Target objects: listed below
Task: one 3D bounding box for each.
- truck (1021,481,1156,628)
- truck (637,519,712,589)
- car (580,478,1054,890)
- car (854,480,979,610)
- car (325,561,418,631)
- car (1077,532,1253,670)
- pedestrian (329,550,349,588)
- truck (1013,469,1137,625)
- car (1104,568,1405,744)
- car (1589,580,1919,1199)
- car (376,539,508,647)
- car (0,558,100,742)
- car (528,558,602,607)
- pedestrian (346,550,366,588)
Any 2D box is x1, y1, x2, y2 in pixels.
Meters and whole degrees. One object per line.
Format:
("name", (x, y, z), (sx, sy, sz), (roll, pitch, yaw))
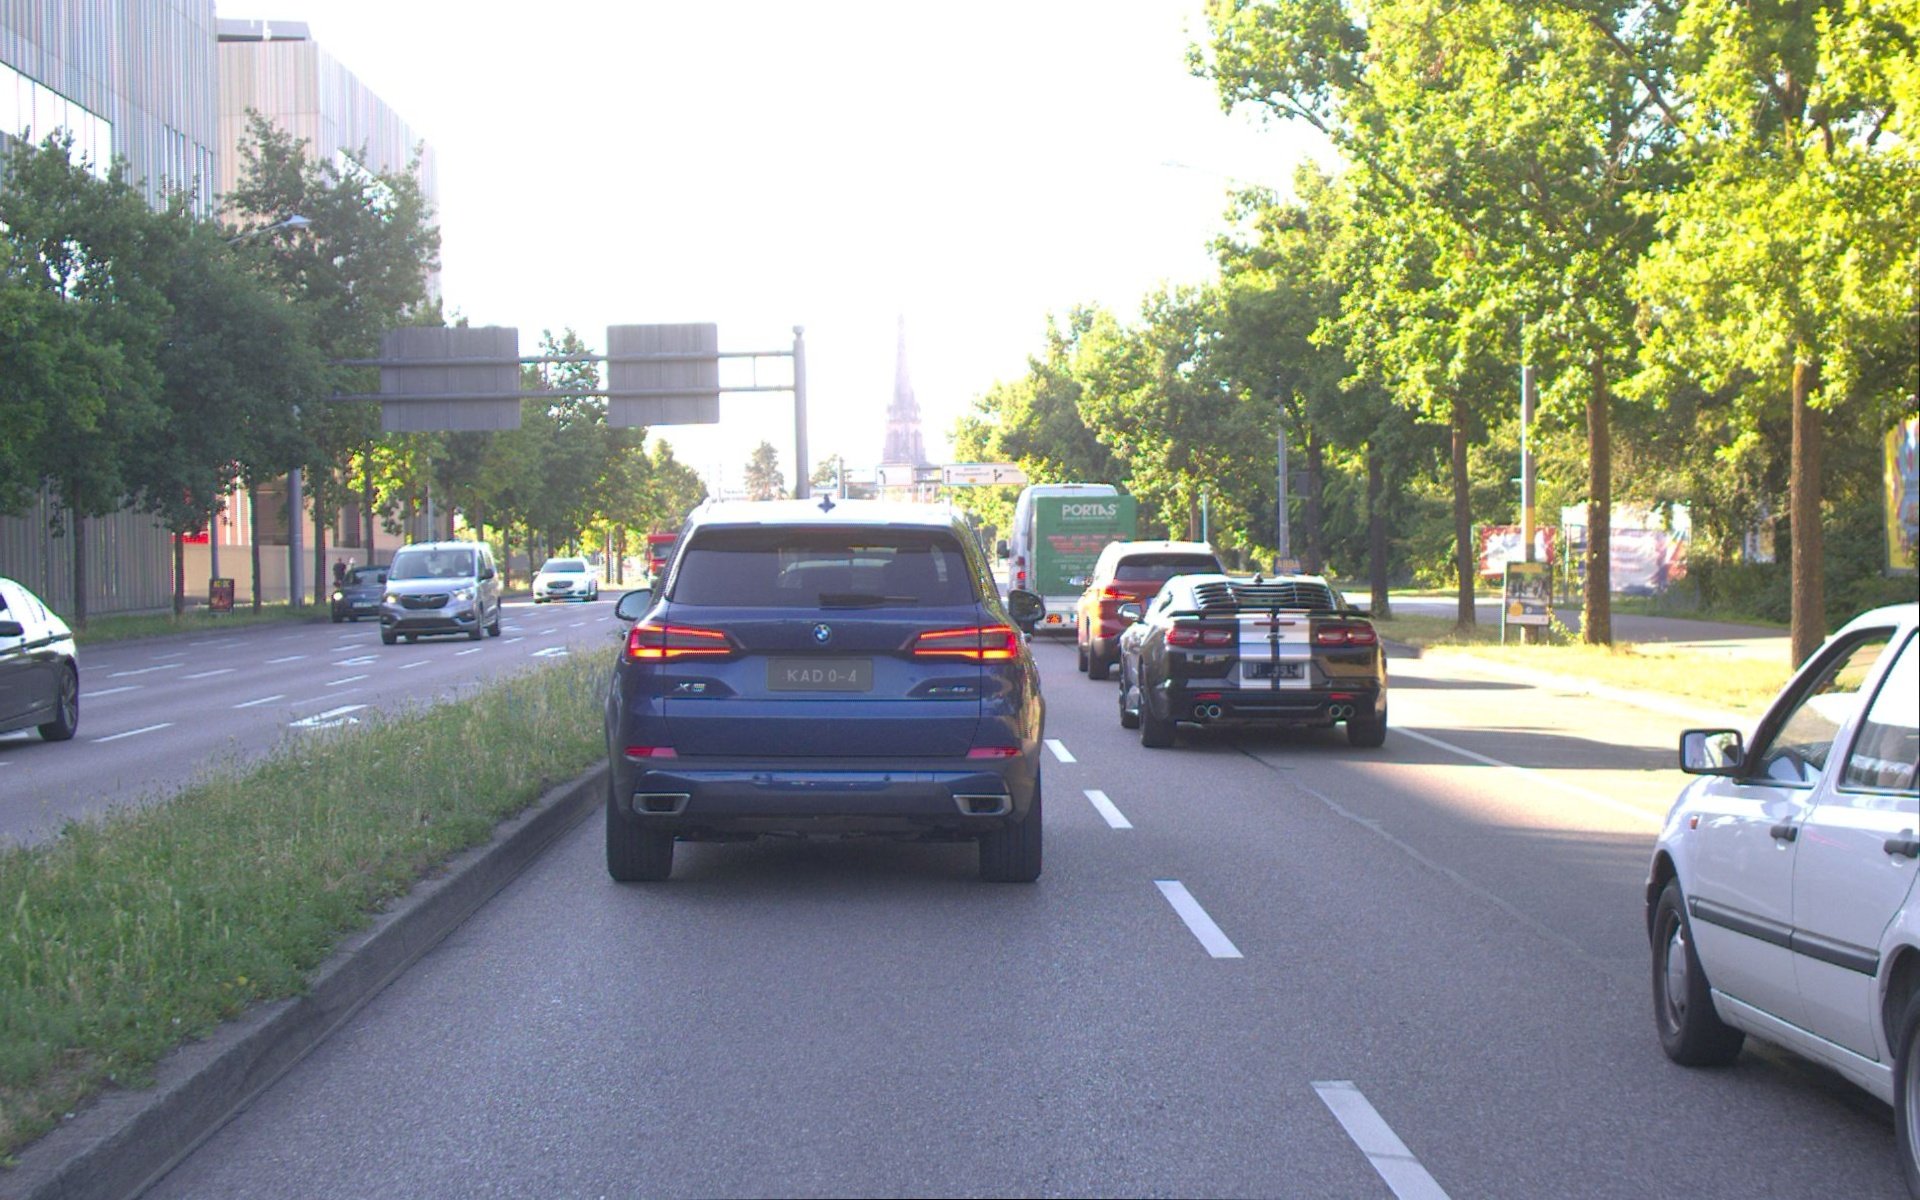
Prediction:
("truck", (2.066, -0.713, 56.233), (1.996, 2.307, 4.000), (0, 0, -1))
("truck", (-17.491, -2.761, 211.460), (3.988, 4.074, 11.449), (0, 0, -2))
("car", (-0.636, 0.363, 16.834), (1.993, 1.728, 4.533), (0, 0, -1))
("car", (-0.939, -1.081, 70.979), (2.136, 2.567, 5.088), (0, 0, -6))
("car", (-15.844, -0.102, 92.723), (1.756, 1.699, 4.494), (-5, 0, -2))
("car", (2.390, 0.016, 41.002), (1.796, 1.553, 4.000), (0, 0, -1))
("pedestrian", (-24.903, -1.228, 137.877), (0.627, 1.516, 0.718), (0, 0, 2))
("truck", (2.012, -0.902, 61.020), (1.996, 2.659, 4.000), (0, 0, -1))
("car", (2.260, 0.420, 27.367), (1.993, 1.290, 4.000), (0, 0, -1))
("car", (2.855, 0.670, 8.931), (1.578, 1.408, 4.062), (0, 0, -2))
("car", (-9.454, -0.115, 63.036), (1.756, 1.771, 4.494), (-5, 0, -2))
("car", (-8.592, 0.478, 28.054), (1.993, 1.447, 4.799), (-5, 0, -2))
("car", (-13.275, -0.568, 115.730), (1.993, 1.447, 4.715), (-5, 0, -2))
("pedestrian", (-24.139, -1.223, 137.349), (0.627, 1.516, 0.718), (0, 0, 2))
